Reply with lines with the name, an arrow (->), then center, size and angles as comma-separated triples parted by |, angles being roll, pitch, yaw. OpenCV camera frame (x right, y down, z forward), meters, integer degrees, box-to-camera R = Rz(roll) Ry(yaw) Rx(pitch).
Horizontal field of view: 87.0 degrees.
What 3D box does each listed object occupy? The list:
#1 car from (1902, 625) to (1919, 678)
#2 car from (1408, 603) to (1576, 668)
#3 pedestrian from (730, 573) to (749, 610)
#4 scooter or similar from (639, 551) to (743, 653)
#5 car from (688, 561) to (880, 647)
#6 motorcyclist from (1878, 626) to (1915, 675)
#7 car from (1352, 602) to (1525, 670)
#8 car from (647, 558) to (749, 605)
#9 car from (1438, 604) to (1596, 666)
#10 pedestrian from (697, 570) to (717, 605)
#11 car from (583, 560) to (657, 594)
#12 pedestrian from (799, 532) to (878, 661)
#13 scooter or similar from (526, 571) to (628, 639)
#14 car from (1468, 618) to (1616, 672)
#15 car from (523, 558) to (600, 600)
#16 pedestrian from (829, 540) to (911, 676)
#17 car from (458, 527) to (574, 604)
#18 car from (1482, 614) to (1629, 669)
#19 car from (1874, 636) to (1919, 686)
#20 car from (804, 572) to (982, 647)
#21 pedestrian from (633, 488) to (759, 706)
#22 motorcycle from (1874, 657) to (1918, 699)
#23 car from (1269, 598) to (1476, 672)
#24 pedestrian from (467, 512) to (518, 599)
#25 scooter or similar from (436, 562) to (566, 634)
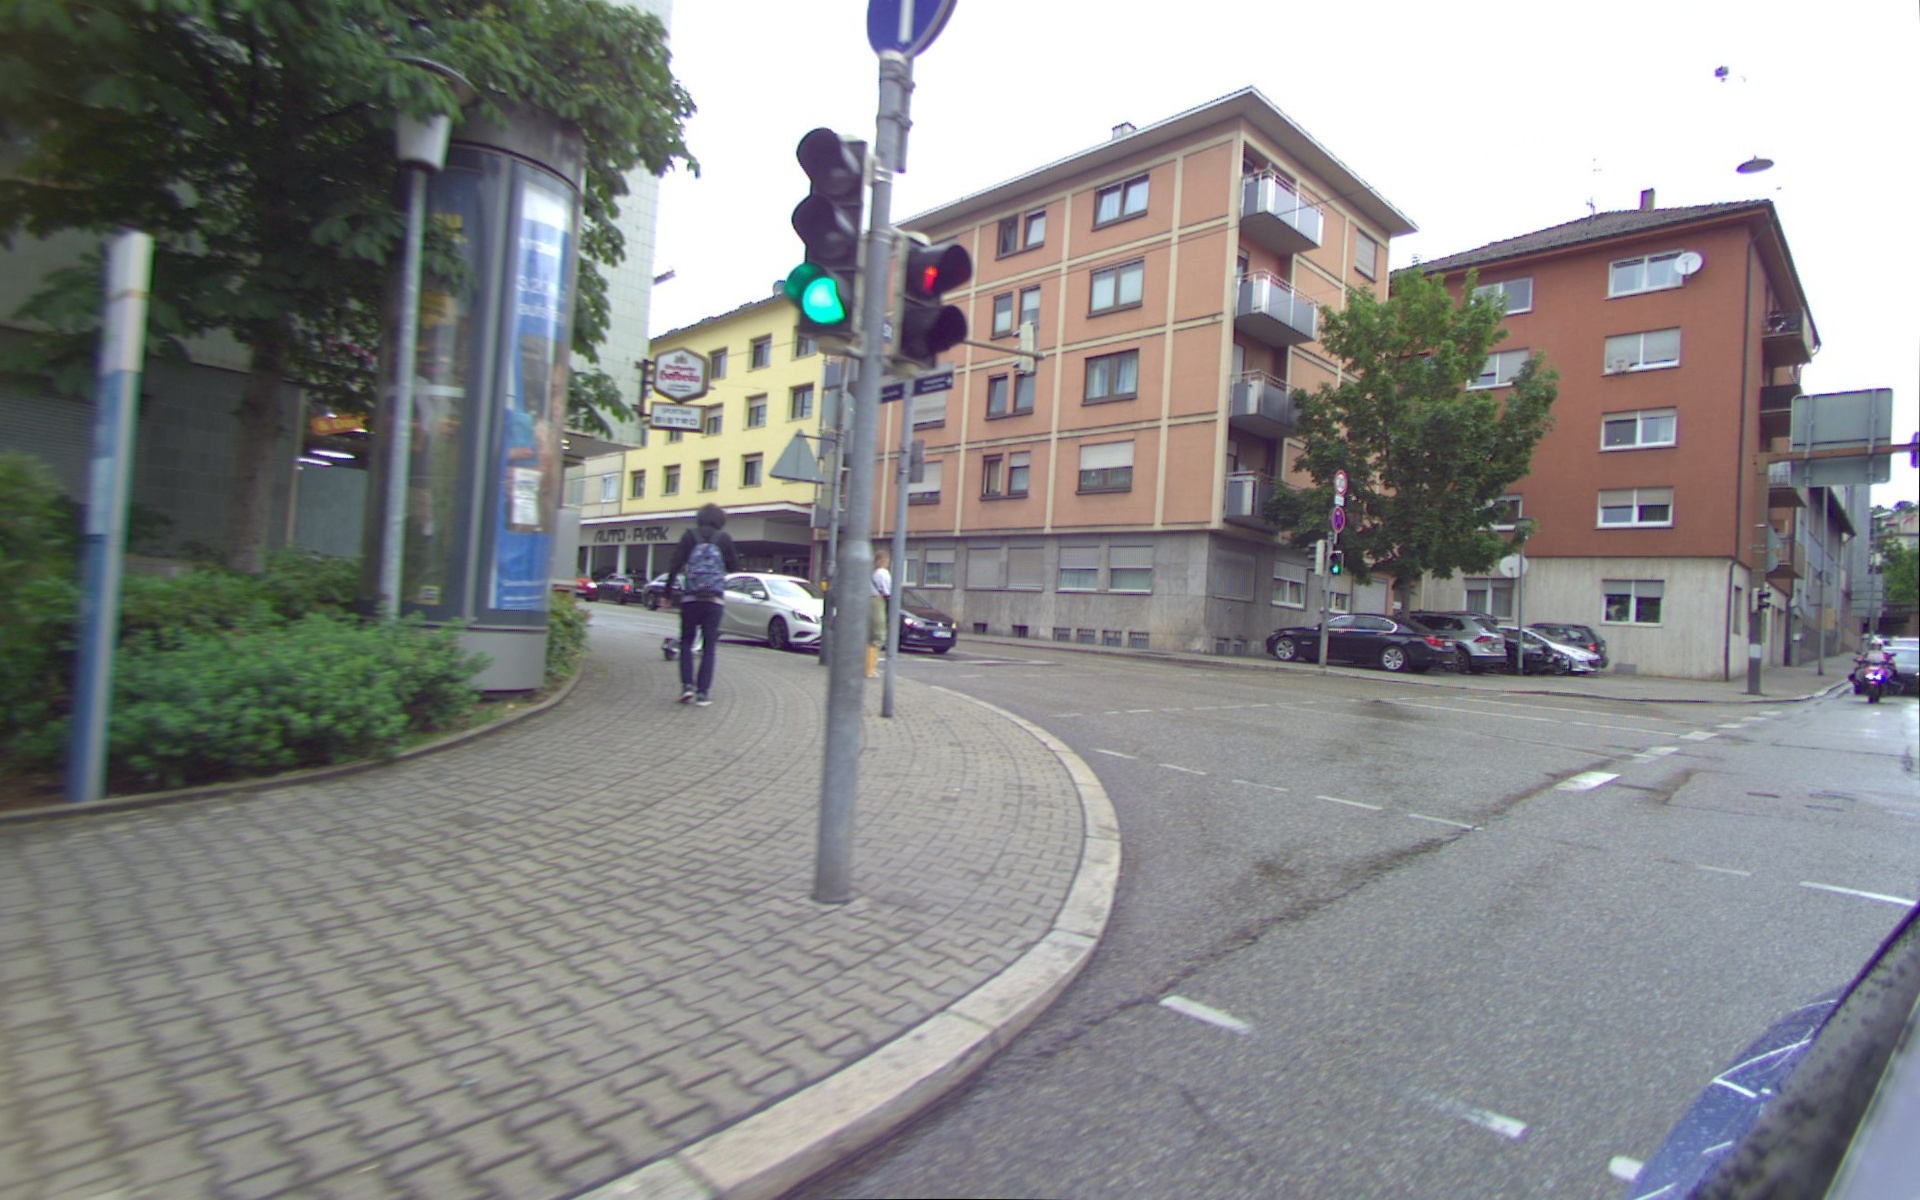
car -> 35.487, 1.937, 36.758 | 1.789, 1.750, 3.935 | 0, -5, 44
car -> 15.864, 1.036, 30.350 | 1.954, 1.741, 4.002 | 3, -1, -33
pedestrian -> -9.868, -0.362, 45.333 | 0.472, 1.585, 0.557 | 7, 0, -44
scooter or similar -> -3.465, 0.054, 13.169 | 0.494, 1.206, 1.552 | 2, -3, 16
car -> -3.578, 0.048, 20.096 | 1.819, 1.532, 3.991 | 3, -1, -43
motorcyclist -> 24.577, 1.315, 26.572 | 0.651, 1.239, 0.649 | 2, 0, 39
car -> 13.532, 1.006, 28.743 | 1.959, 1.681, 3.991 | 4, -1, -43
car -> -9.448, -0.651, 36.307 | 1.819, 1.508, 3.991 | 4, -2, -43
car -> 17.641, 1.069, 32.215 | 1.764, 1.720, 4.003 | 5, -2, -32
pedestrian -> -11.500, -0.570, 46.035 | 0.513, 1.537, 0.568 | 7, 0, -44
car -> -15.995, -1.097, 47.565 | 1.638, 1.438, 4.062 | 3, 0, -45
pedestrian -> -1.665, -0.044, 13.944 | 0.747, 1.667, 0.708 | 6, -1, 10
scooter or similar -> -5.253, 0.072, 13.881 | 1.308, 0.854, 0.456 | 2, -4, 24
car -> 19.258, 1.457, 33.670 | 1.640, 1.602, 4.005 | 5, -3, -26
car -> -17.688, -0.921, 44.858 | 1.818, 1.695, 3.992 | 4, -2, -43
pedestrian -> -1.175, 0.110, 13.332 | 0.747, 1.667, 0.708 | 6, -1, 10
car -> -14.597, -1.084, 33.151 | 2.036, 2.270, 4.610 | 4, -2, -42
car -> 21.018, 1.433, 35.850 | 1.960, 1.728, 4.001 | 5, -4, -32
car -> 29.761, 1.888, 31.483 | 1.868, 1.460, 3.939 | 1, -1, 41
car -> -1.574, 0.191, 22.737 | 1.819, 1.508, 3.991 | 3, -1, -43
pedestrian -> -2.382, -0.036, 9.242 | 0.741, 1.840, 0.917 | 5, 1, 3
motorcycle -> 24.527, 2.021, 26.544 | 0.634, 0.938, 2.332 | 0, -1, 38
car -> 10.966, 0.892, 27.214 | 1.818, 1.574, 4.788 | 4, 0, -42
pedestrian -> -8.009, -0.754, 17.330 | 0.576, 1.418, 0.512 | 0, -5, 43
scooter or similar -> -6.151, -0.018, 13.604 | 1.436, 0.854, 0.550 | 4, -3, -7
